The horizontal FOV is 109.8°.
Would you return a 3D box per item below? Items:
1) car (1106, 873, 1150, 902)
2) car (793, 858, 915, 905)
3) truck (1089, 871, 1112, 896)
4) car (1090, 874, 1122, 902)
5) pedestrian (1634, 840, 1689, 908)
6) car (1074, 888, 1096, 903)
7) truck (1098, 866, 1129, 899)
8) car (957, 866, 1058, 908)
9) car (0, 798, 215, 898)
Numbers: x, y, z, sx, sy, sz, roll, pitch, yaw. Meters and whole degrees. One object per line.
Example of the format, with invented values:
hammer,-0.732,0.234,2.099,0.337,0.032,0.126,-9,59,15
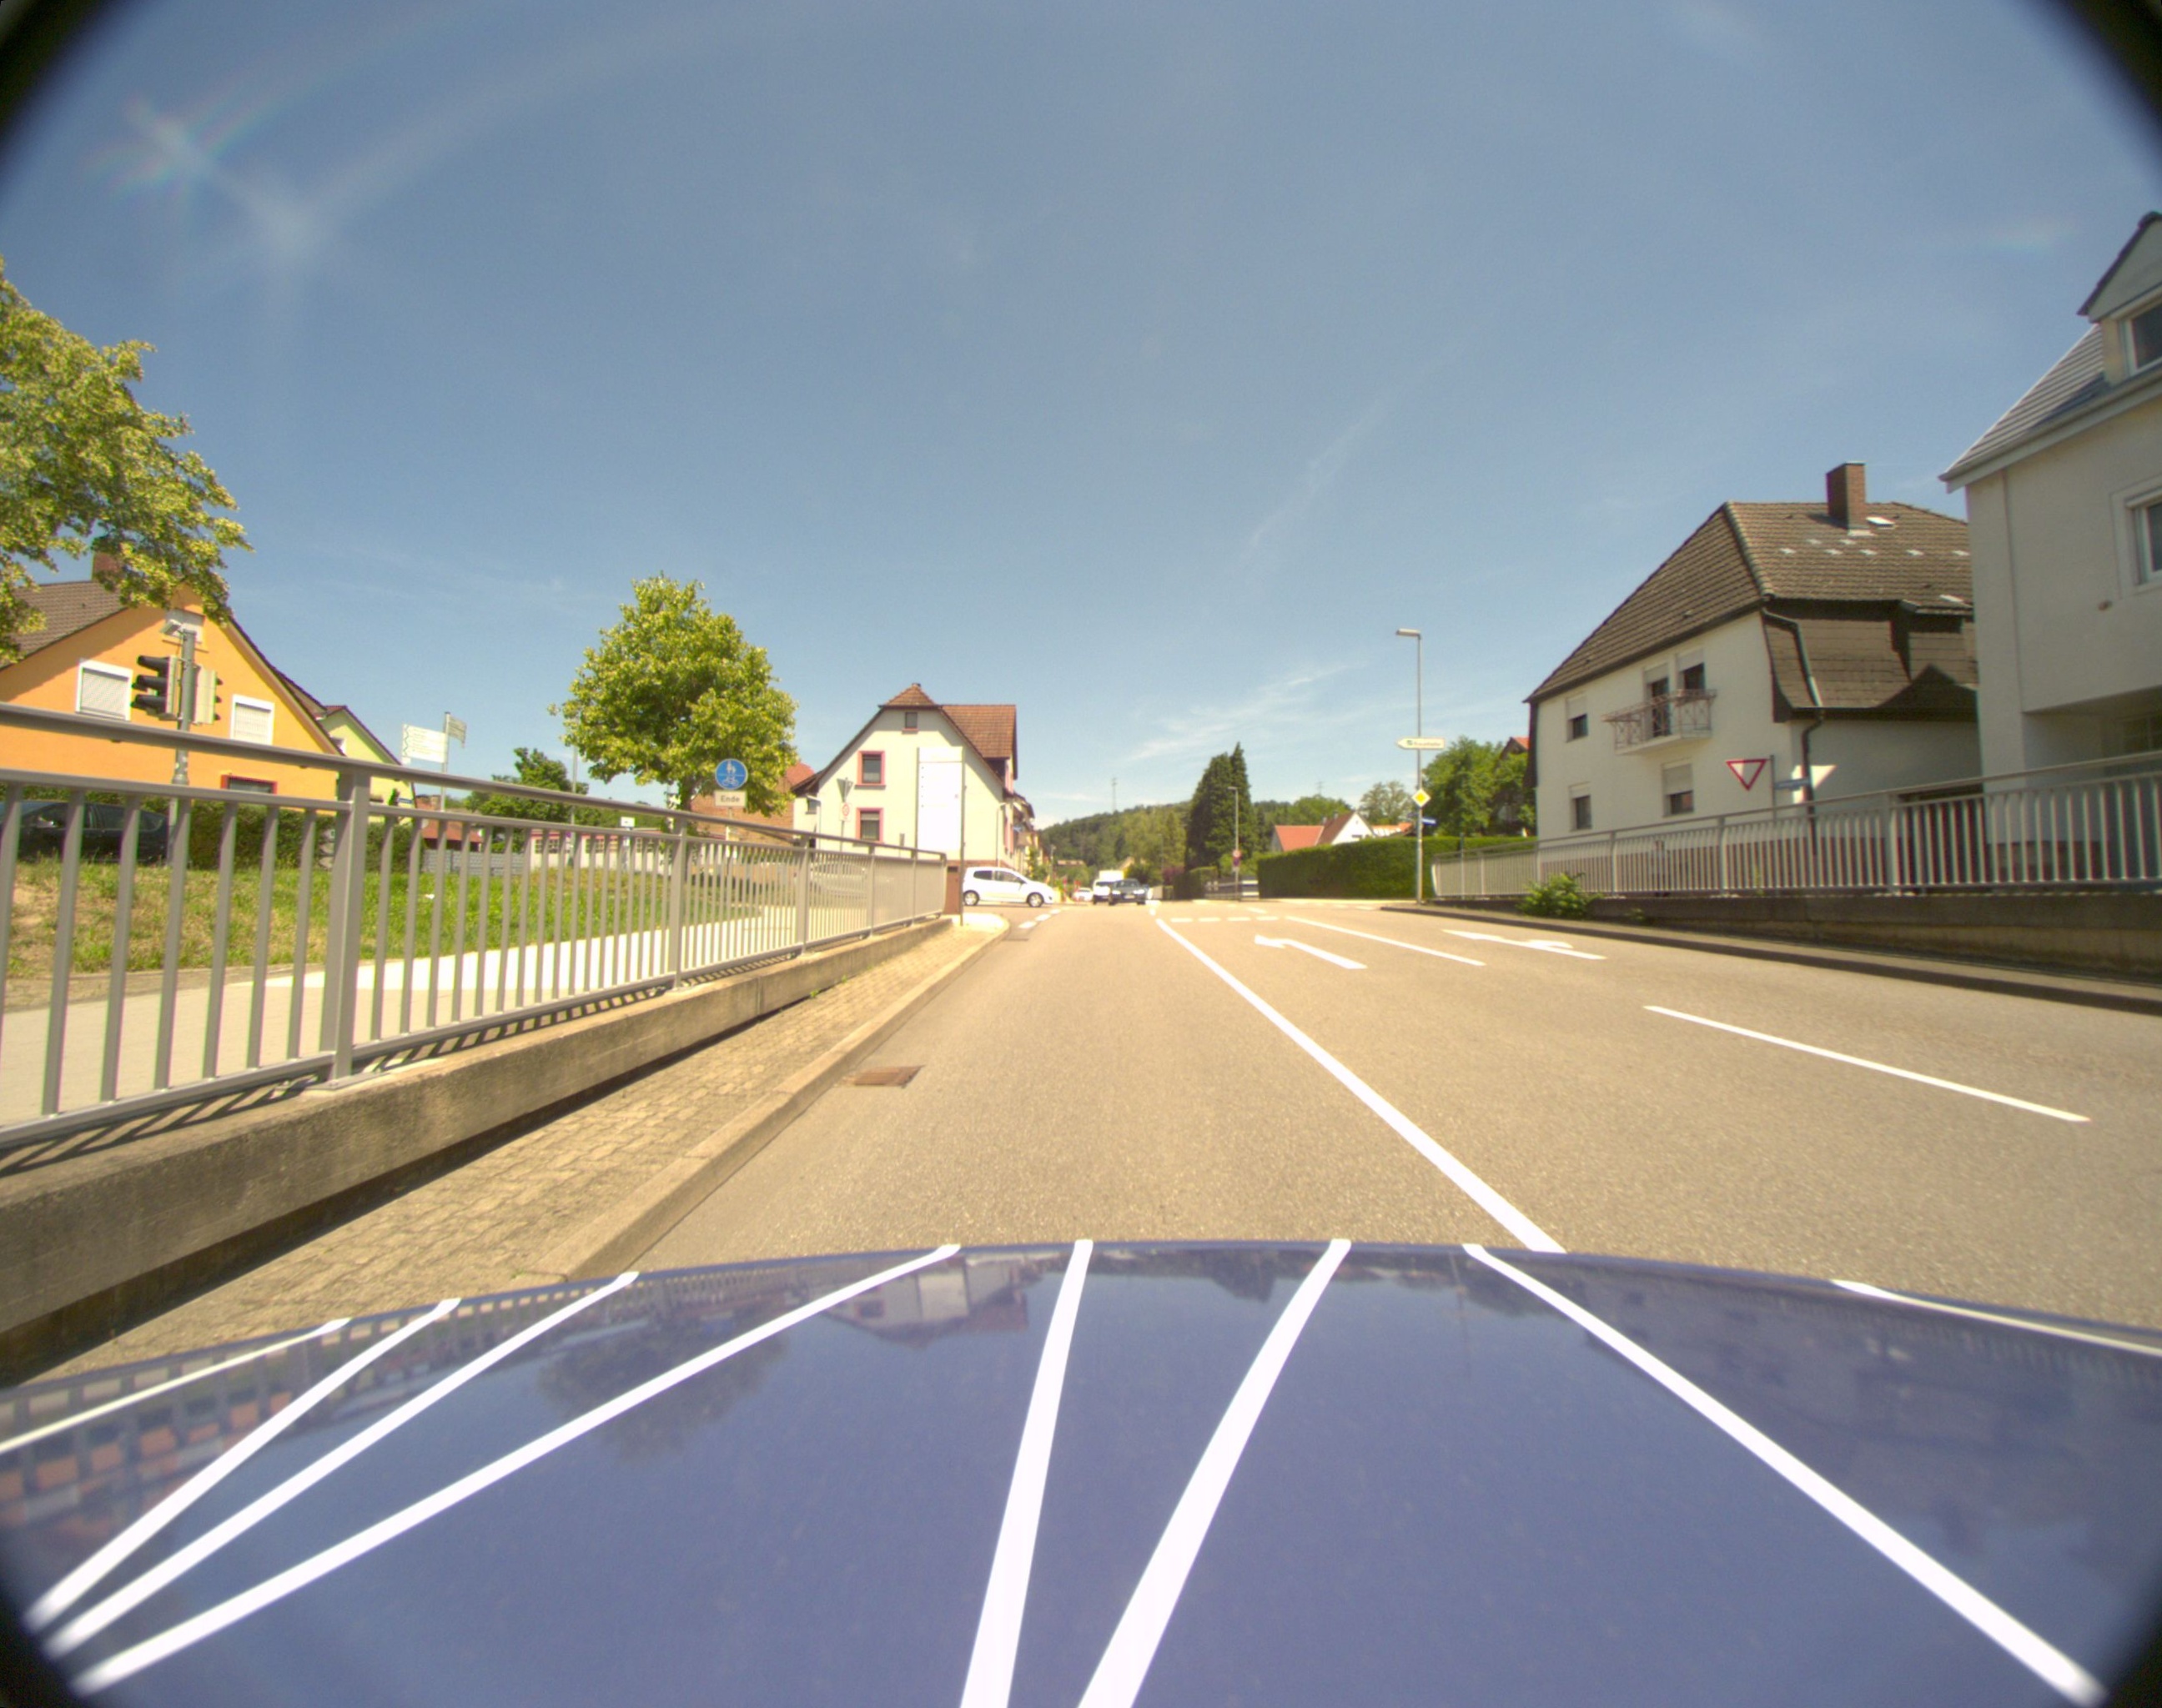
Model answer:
car,2.414,1.776,39.771,1.864,1.440,4.001,0,-3,-3
car,-8.351,1.026,28.116,4.130,1.526,1.773,3,-2,-18
truck,2.770,4.391,110.542,3.149,3.464,8.276,-1,-3,0
car,1.887,2.596,58.353,1.999,2.001,4.549,-2,-2,-3
pedestrian,15.059,0.516,19.725,0.729,1.719,0.856,-2,0,-2
car,0.455,4.329,78.813,1.998,1.509,4.148,-1,-3,4
truck,3.645,3.313,86.502,3.149,3.465,8.276,-1,-3,0
car,-2.758,1.246,28.868,3.681,1.469,1.775,1,-2,-5
car,-18.559,-0.027,13.524,1.869,1.579,4.156,0,-3,-9
